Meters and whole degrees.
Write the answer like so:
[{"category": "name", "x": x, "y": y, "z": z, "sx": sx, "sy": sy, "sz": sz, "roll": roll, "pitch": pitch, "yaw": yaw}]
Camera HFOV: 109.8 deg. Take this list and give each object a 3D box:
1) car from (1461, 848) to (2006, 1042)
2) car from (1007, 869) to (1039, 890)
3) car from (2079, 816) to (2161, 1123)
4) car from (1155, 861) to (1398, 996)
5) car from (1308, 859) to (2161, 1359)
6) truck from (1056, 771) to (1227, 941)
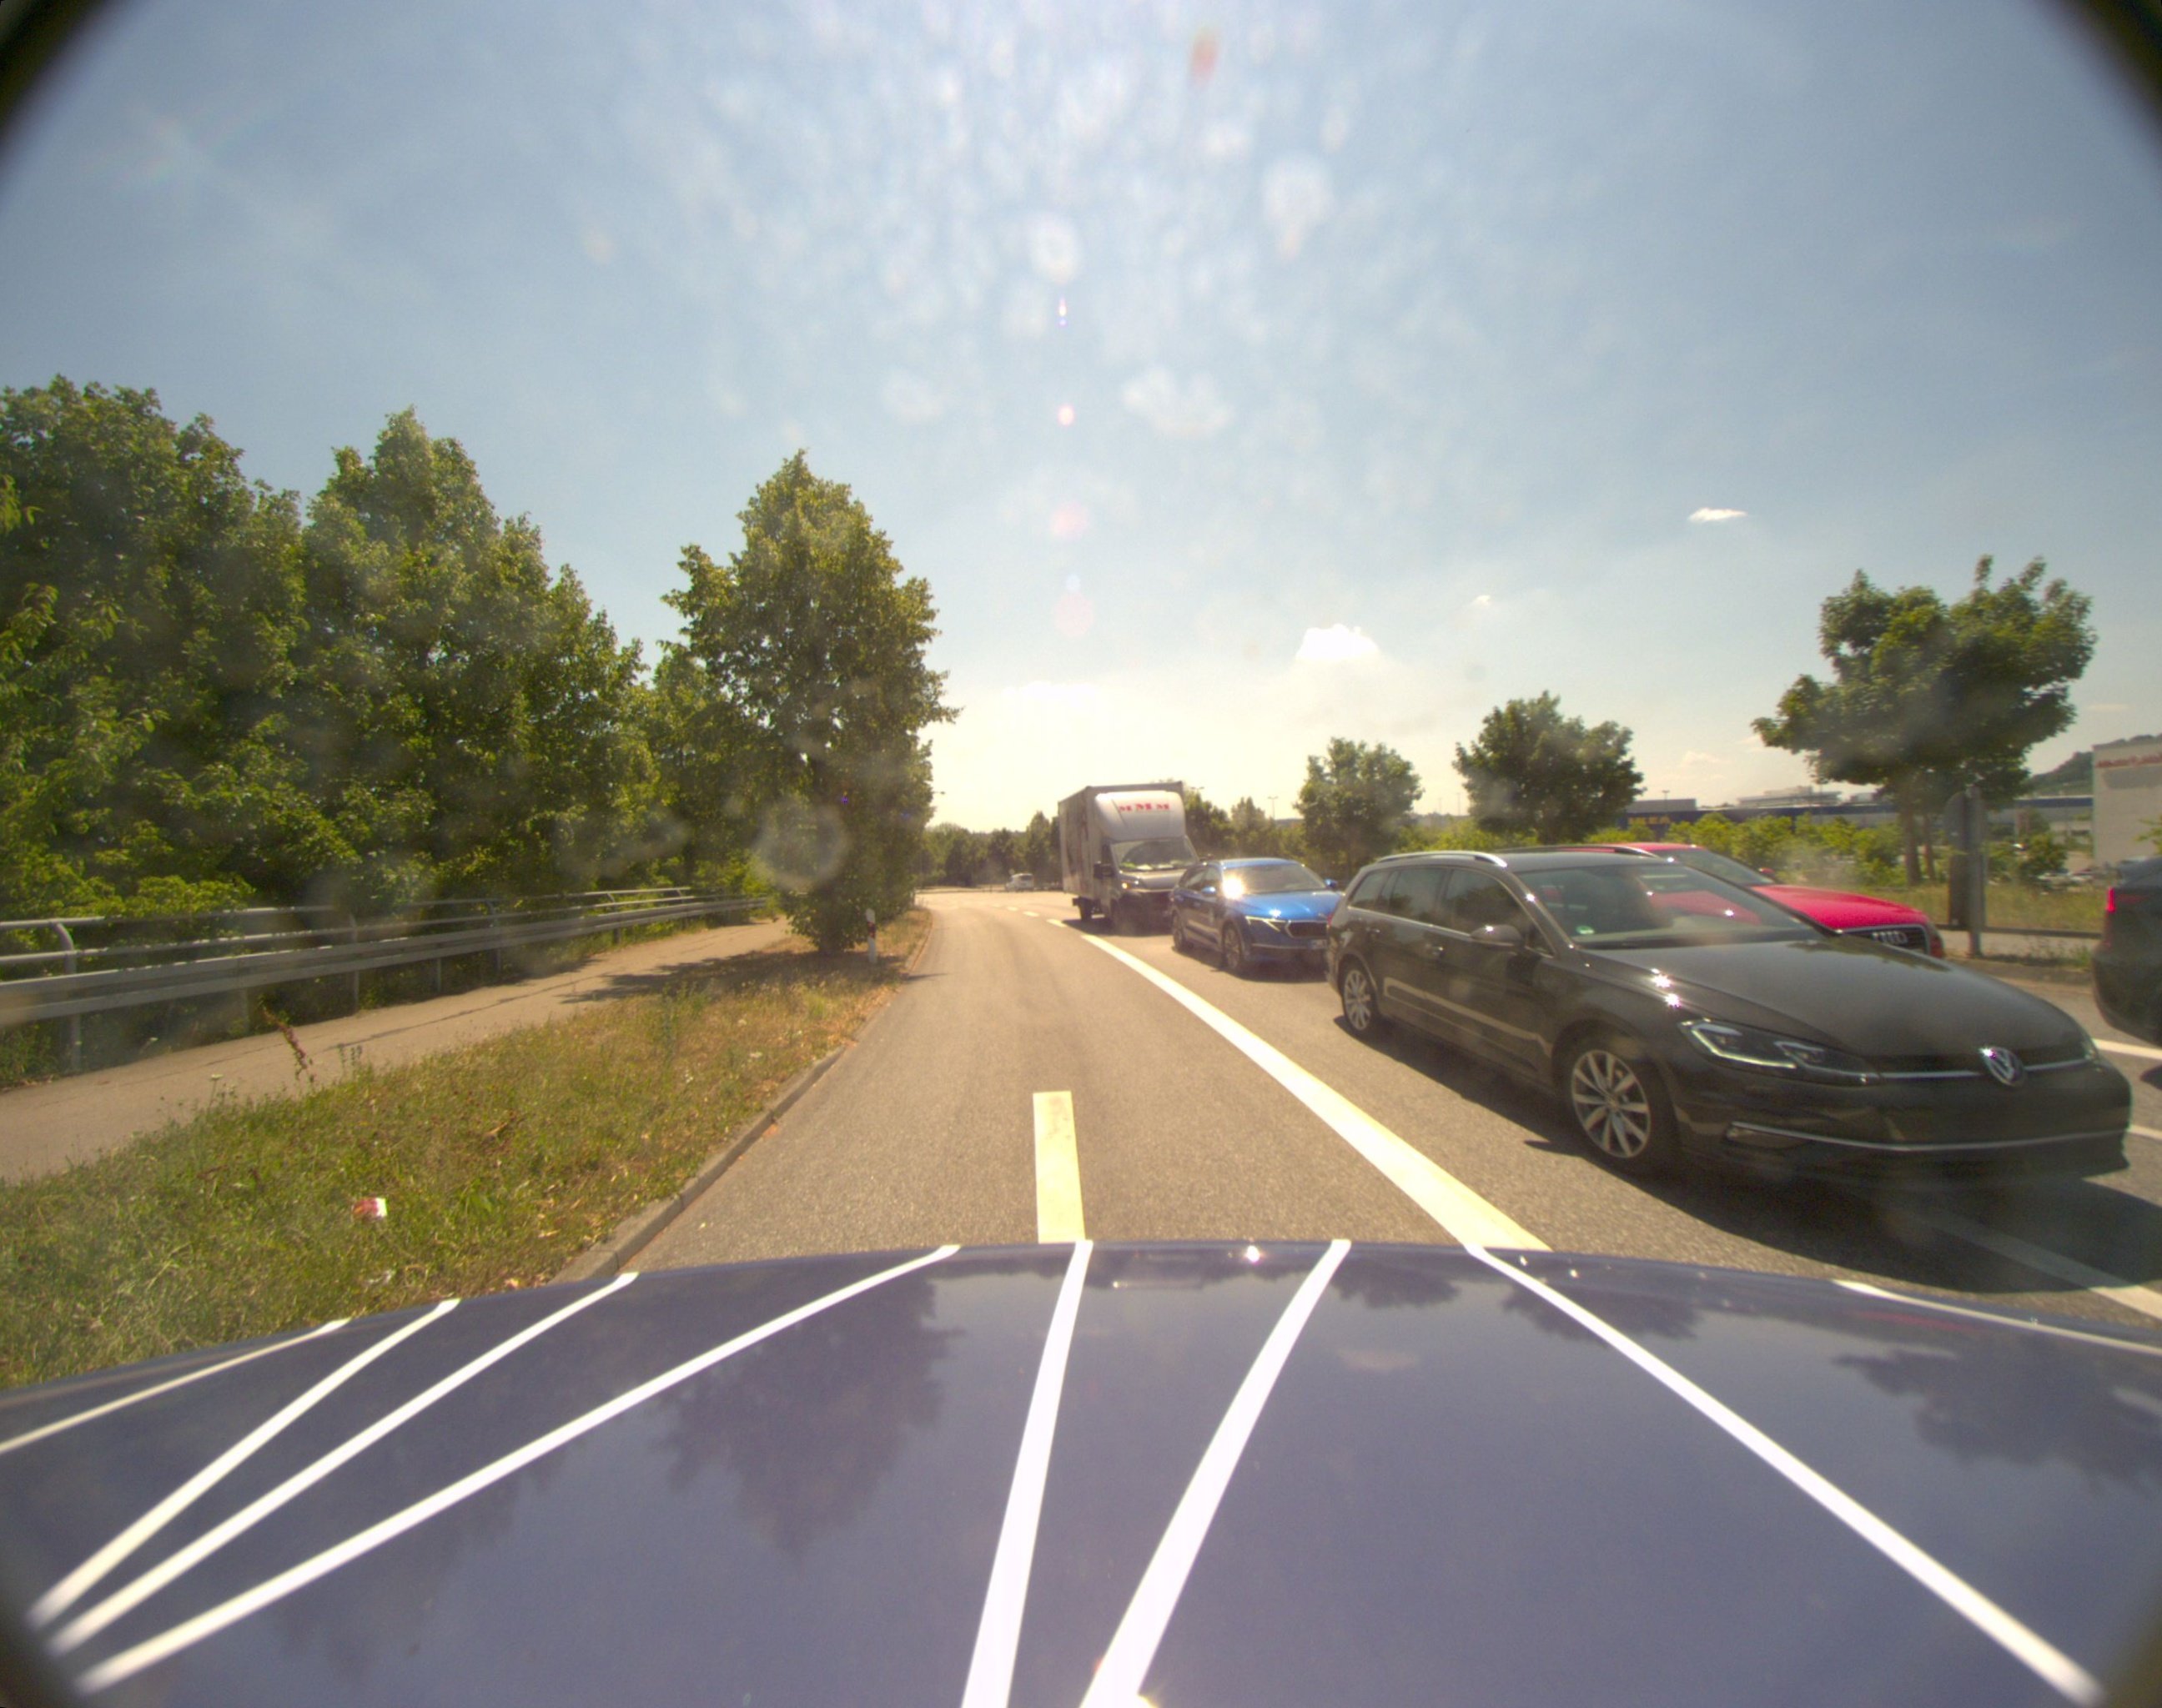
[{"category": "car", "x": 6.132, "y": 0.673, "z": 8.031, "sx": 1.665, "sy": 1.380, "sz": 4.447, "roll": -3, "pitch": 1, "yaw": -5}, {"category": "car", "x": -5.880, "y": 2.581, "z": 76.867, "sx": 2.002, "sy": 1.949, "sz": 3.992, "roll": -2, "pitch": 1, "yaw": -23}, {"category": "car", "x": 6.698, "y": 0.582, "z": 2.076, "sx": 1.880, "sy": 1.591, "sz": 4.503, "roll": -2, "pitch": 1, "yaw": -5}, {"category": "car", "x": 2.489, "y": 0.884, "z": 10.988, "sx": 1.713, "sy": 1.454, "sz": 4.486, "roll": -3, "pitch": -1, "yaw": -9}, {"category": "car", "x": 3.103, "y": 0.817, "z": 4.658, "sx": 1.783, "sy": 1.474, "sz": 4.427, "roll": -2, "pitch": 0, "yaw": -4}, {"category": "truck", "x": 1.124, "y": 0.107, "z": 18.791, "sx": 2.416, "sy": 3.327, "sz": 7.198, "roll": -2, "pitch": -1, "yaw": -9}]
